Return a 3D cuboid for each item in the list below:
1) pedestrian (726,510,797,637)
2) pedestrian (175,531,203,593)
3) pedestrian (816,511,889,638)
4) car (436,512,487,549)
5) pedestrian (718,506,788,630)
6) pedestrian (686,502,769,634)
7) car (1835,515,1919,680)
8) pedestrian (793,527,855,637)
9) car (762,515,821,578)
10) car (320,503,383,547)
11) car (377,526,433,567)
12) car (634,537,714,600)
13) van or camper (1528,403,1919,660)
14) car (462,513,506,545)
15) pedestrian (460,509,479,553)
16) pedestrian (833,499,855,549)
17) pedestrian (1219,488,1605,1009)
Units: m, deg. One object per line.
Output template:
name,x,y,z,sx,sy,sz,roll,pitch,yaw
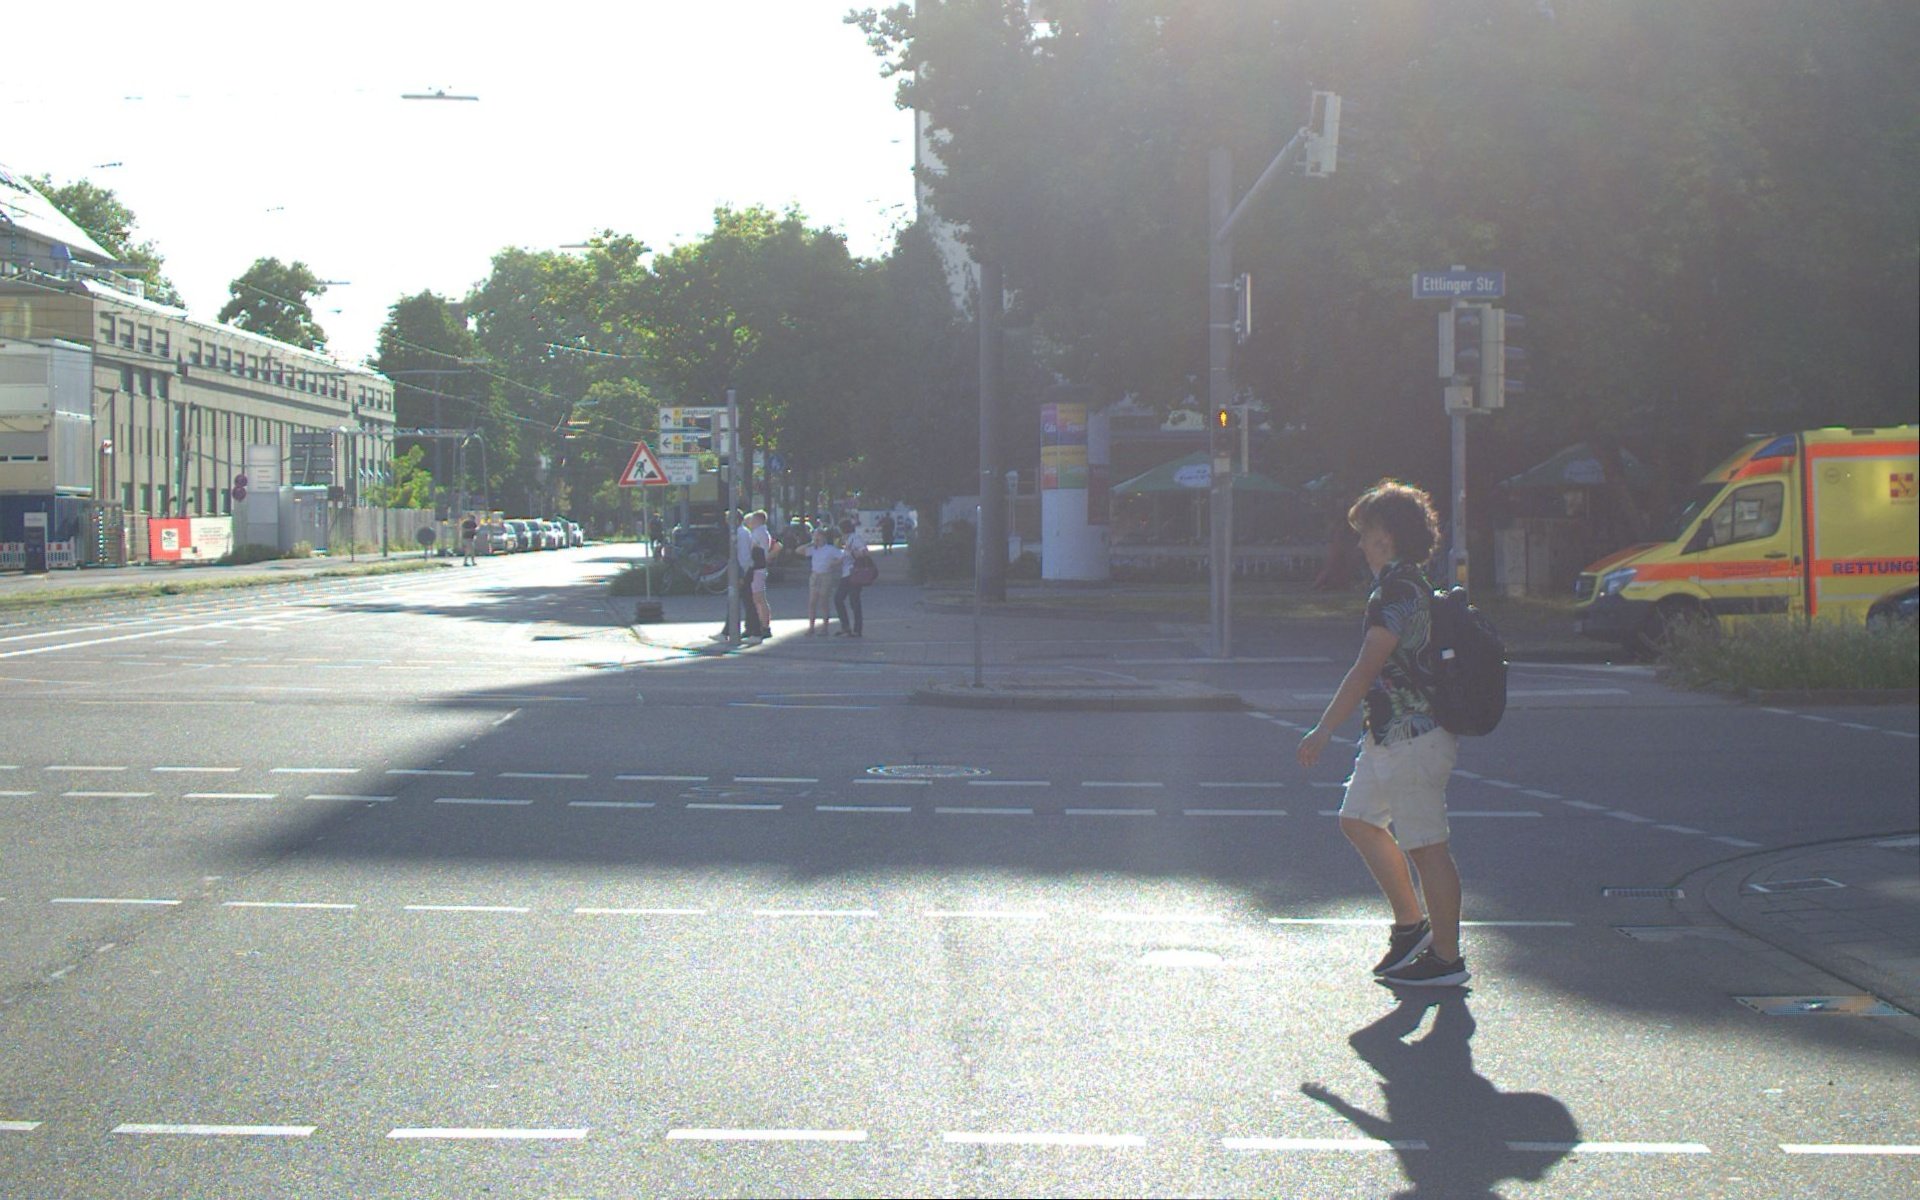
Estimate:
pedestrian,-2.823,-0.384,48.893,0.847,1.778,0.780,-1,1,-17
pedestrian,-16.411,-0.806,73.182,0.511,1.324,0.369,0,1,1
pedestrian,-1.521,-0.371,48.605,0.847,1.778,0.780,-1,1,-17
car,-22.982,-3.208,158.586,1.819,1.706,3.806,0,1,-1
pedestrian,-3.000,-0.468,49.739,0.847,1.778,0.780,-1,1,-17
pedestrian,-3.179,-0.443,46.968,0.965,1.778,0.780,-1,1,-17
car,11.412,0.023,35.329,4.314,1.641,1.888,2,0,0
pedestrian,-1.952,-0.265,49.284,0.762,1.553,0.588,-1,1,-17
car,-5.375,-1.692,109.990,1.684,1.955,3.509,2,0,-1
car,-24.023,-2.980,135.811,1.819,1.706,3.806,0,1,-1
car,-23.645,-2.301,146.551,1.819,1.706,3.806,0,1,-1
car,-7.048,-0.773,85.061,1.684,1.495,3.509,2,0,-1
van or camper,10.342,-0.766,41.046,6.709,2.852,2.910,2,0,4
car,-22.478,-3.353,162.433,1.609,1.493,3.806,0,1,-1
pedestrian,-16.630,-2.344,116.545,0.524,1.479,0.437,2,0,-2
pedestrian,-8.376,-5.469,248.187,1.401,3.584,1.568,2,0,-1
pedestrian,1.547,0.475,11.924,1.039,1.715,1.035,-1,1,-12
